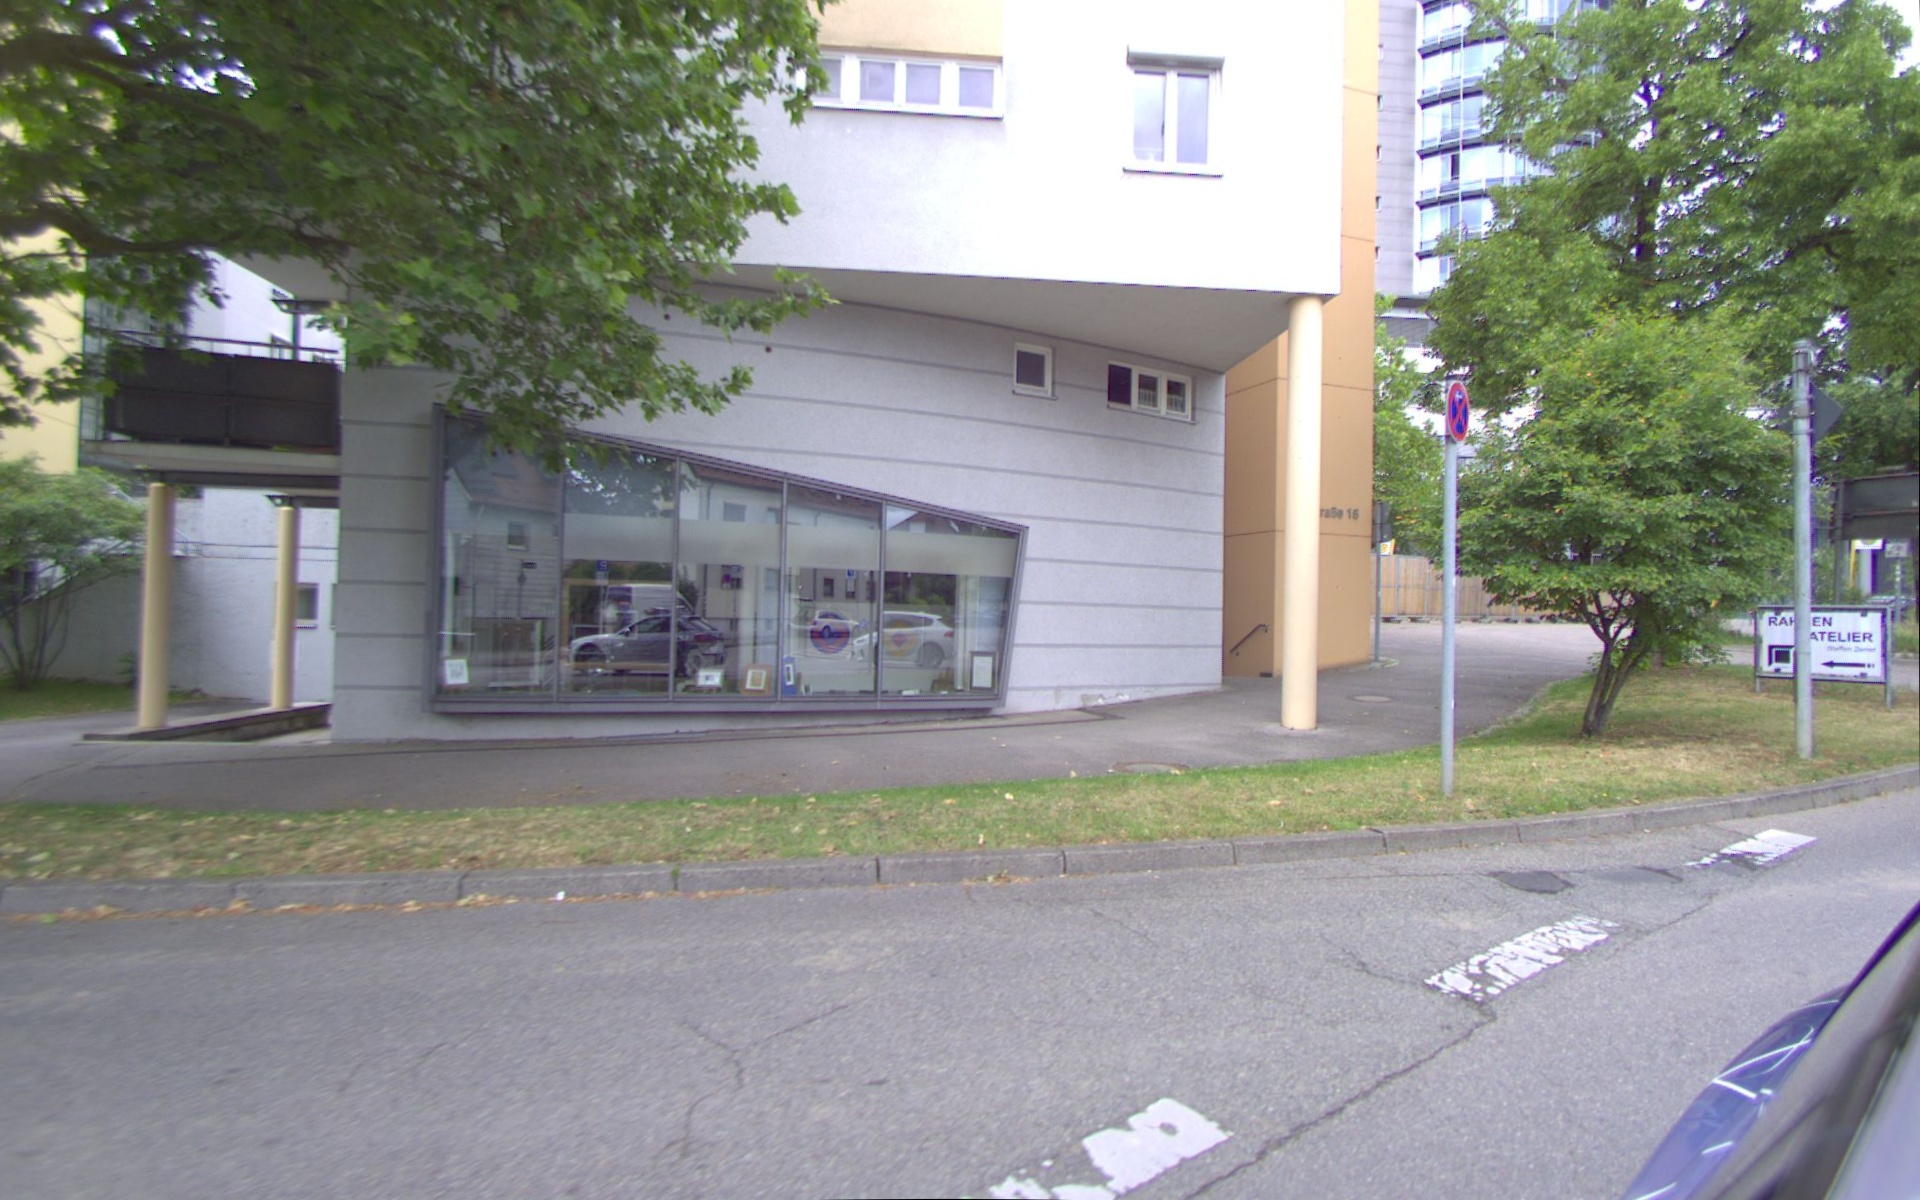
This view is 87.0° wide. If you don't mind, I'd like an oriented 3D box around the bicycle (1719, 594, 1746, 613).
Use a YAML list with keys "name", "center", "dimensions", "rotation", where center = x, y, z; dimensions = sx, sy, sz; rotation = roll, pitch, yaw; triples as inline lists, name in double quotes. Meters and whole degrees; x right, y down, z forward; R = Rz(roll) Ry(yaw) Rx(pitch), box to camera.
- name: "bicycle"
  center: [45.170, 0.202, 59.187]
  dimensions: [0.385, 1.086, 1.402]
  rotation: [0, -1, -5]

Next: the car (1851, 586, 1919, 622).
- name: "car"
  center: [43.707, 0.199, 45.806]
  dimensions: [4.670, 1.535, 1.865]
  rotation: [2, 1, 13]

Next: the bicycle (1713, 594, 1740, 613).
- name: "bicycle"
  center: [44.566, 0.217, 58.825]
  dimensions: [0.385, 1.086, 1.402]
  rotation: [0, -1, -5]

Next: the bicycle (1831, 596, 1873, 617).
- name: "bicycle"
  center: [50.201, 0.366, 56.967]
  dimensions: [1.731, 1.162, 0.484]
  rotation: [-1, -1, 42]
